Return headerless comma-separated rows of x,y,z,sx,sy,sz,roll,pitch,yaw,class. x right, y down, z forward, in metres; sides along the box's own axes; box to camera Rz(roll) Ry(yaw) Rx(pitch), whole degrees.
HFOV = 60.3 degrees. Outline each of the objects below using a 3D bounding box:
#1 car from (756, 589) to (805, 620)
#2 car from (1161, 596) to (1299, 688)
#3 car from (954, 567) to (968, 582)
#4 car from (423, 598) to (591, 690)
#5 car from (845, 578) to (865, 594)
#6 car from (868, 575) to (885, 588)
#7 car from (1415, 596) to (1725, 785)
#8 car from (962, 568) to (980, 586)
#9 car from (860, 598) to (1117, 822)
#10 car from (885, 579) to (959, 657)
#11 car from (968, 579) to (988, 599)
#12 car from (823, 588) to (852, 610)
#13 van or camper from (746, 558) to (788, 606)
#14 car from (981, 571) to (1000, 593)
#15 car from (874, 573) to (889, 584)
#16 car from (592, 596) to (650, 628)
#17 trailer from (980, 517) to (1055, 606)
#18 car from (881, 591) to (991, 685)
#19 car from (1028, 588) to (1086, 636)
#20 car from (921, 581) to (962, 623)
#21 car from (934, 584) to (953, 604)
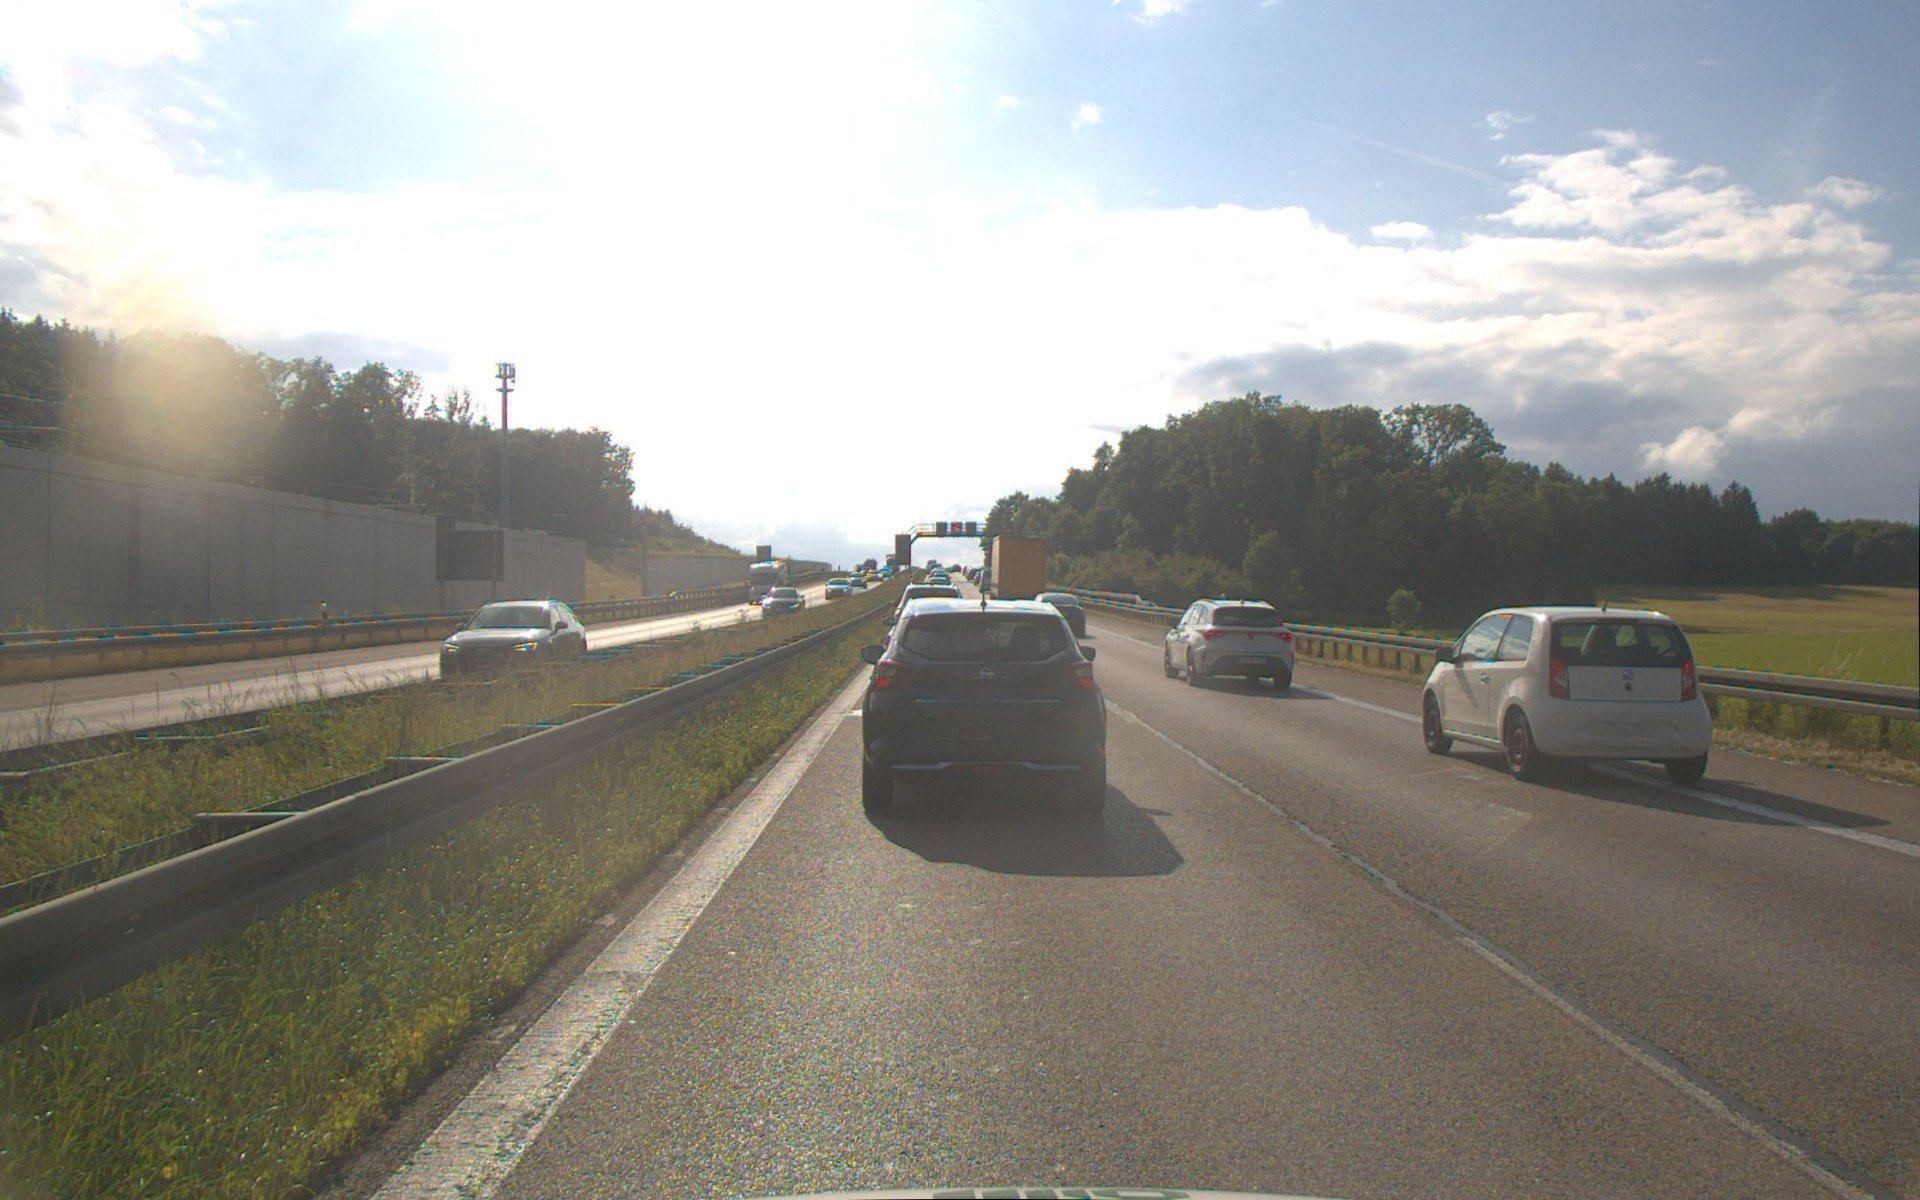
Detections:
-8.645,0.226,79.826,1.953,1.458,4.447,1,0,-1,car
4.633,0.698,28.879,1.588,1.471,4.145,1,-1,-2,car
0.188,-3.654,241.074,1.953,2.049,3.999,1,0,-1,car
-7.916,0.743,29.283,1.863,1.490,4.182,1,0,-1,car
-10.284,-1.377,162.362,1.816,1.458,4.447,1,0,-1,car
-10.298,-2.260,203.957,1.953,1.458,4.447,1,0,-1,car
5.499,0.744,15.326,1.517,1.521,3.377,1,0,-2,car
1.306,-2.761,196.698,1.953,2.049,3.999,1,0,-1,car
0.217,0.741,12.603,1.675,1.451,3.378,1,-1,1,car
-0.870,0.419,39.496,1.639,1.756,3.596,1,-1,0,car
1.867,-1.175,175.027,1.953,2.049,3.999,1,0,-1,car
-9.083,-0.058,123.028,1.953,1.621,4.447,1,0,-1,car
-13.285,-1.201,114.164,2.180,3.133,6.511,1,0,-1,van or camper
2.640,-1.539,142.286,1.633,1.785,3.327,1,0,1,car
-11.043,-2.983,233.188,1.953,1.458,4.447,1,0,-1,car
-16.216,0.567,79.311,1.953,1.458,4.447,1,0,-1,car
3.108,-2.009,93.088,3.477,4.535,12.718,1,0,-1,trailer
-0.354,0.588,26.789,1.639,1.391,3.596,1,-1,0,car
3.236,0.408,55.656,1.711,1.501,4.147,1,-1,0,car
-0.964,0.126,83.544,1.953,2.049,3.999,1,0,-1,car
-1.490,-0.530,153.124,1.633,1.785,3.327,1,0,1,car
